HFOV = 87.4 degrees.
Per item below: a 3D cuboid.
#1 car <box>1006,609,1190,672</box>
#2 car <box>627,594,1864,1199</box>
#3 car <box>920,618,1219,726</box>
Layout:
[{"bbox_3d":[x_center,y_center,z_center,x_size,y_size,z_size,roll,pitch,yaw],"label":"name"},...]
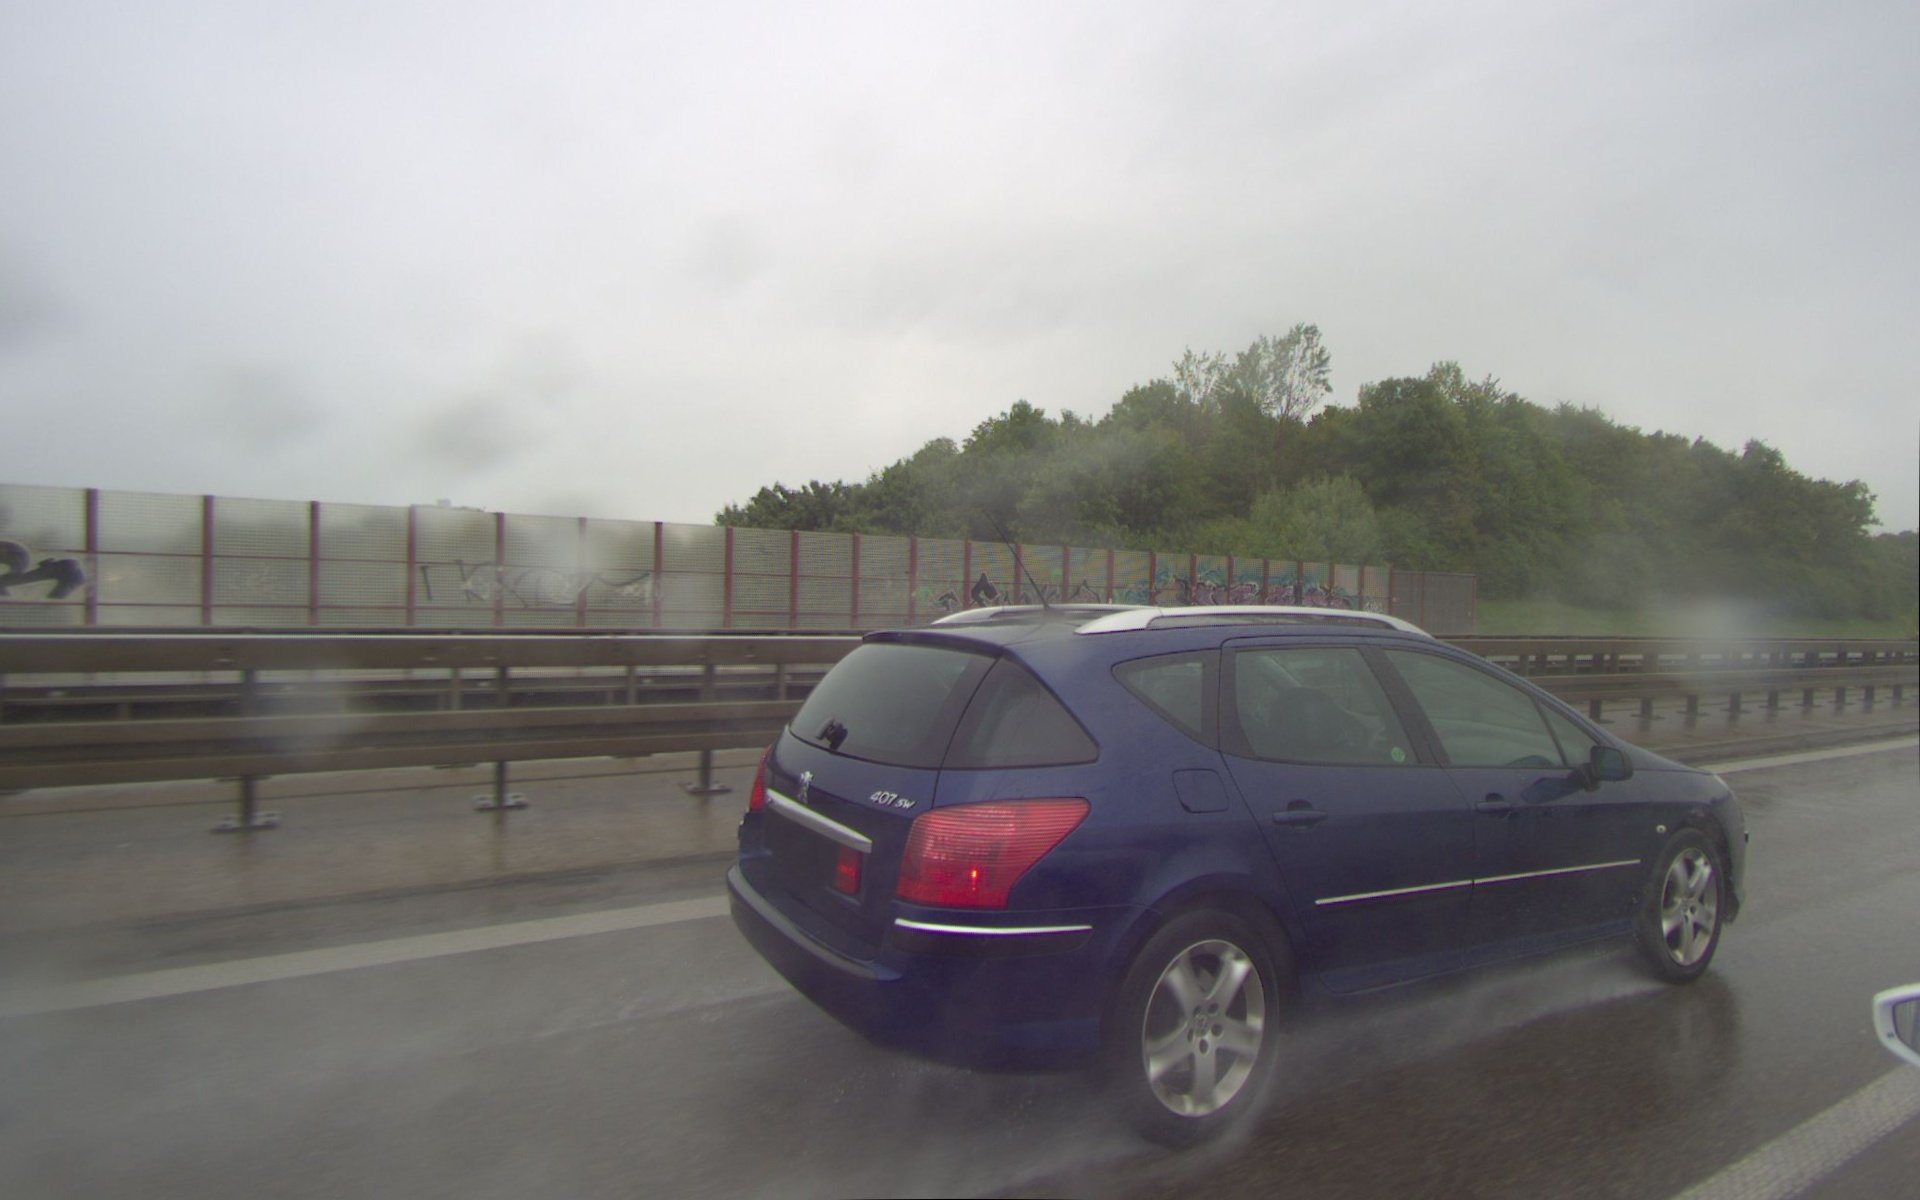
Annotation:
[{"bbox_3d":[3.669,1.037,26.383,4.678,1.491,1.972,2,0,-34],"label":"car"},{"bbox_3d":[1.420,0.781,4.253,5.095,1.505,2.045,1,0,-29],"label":"car"},{"bbox_3d":[1.858,1.099,16.423,4.675,1.491,1.973,2,0,-33],"label":"car"}]
